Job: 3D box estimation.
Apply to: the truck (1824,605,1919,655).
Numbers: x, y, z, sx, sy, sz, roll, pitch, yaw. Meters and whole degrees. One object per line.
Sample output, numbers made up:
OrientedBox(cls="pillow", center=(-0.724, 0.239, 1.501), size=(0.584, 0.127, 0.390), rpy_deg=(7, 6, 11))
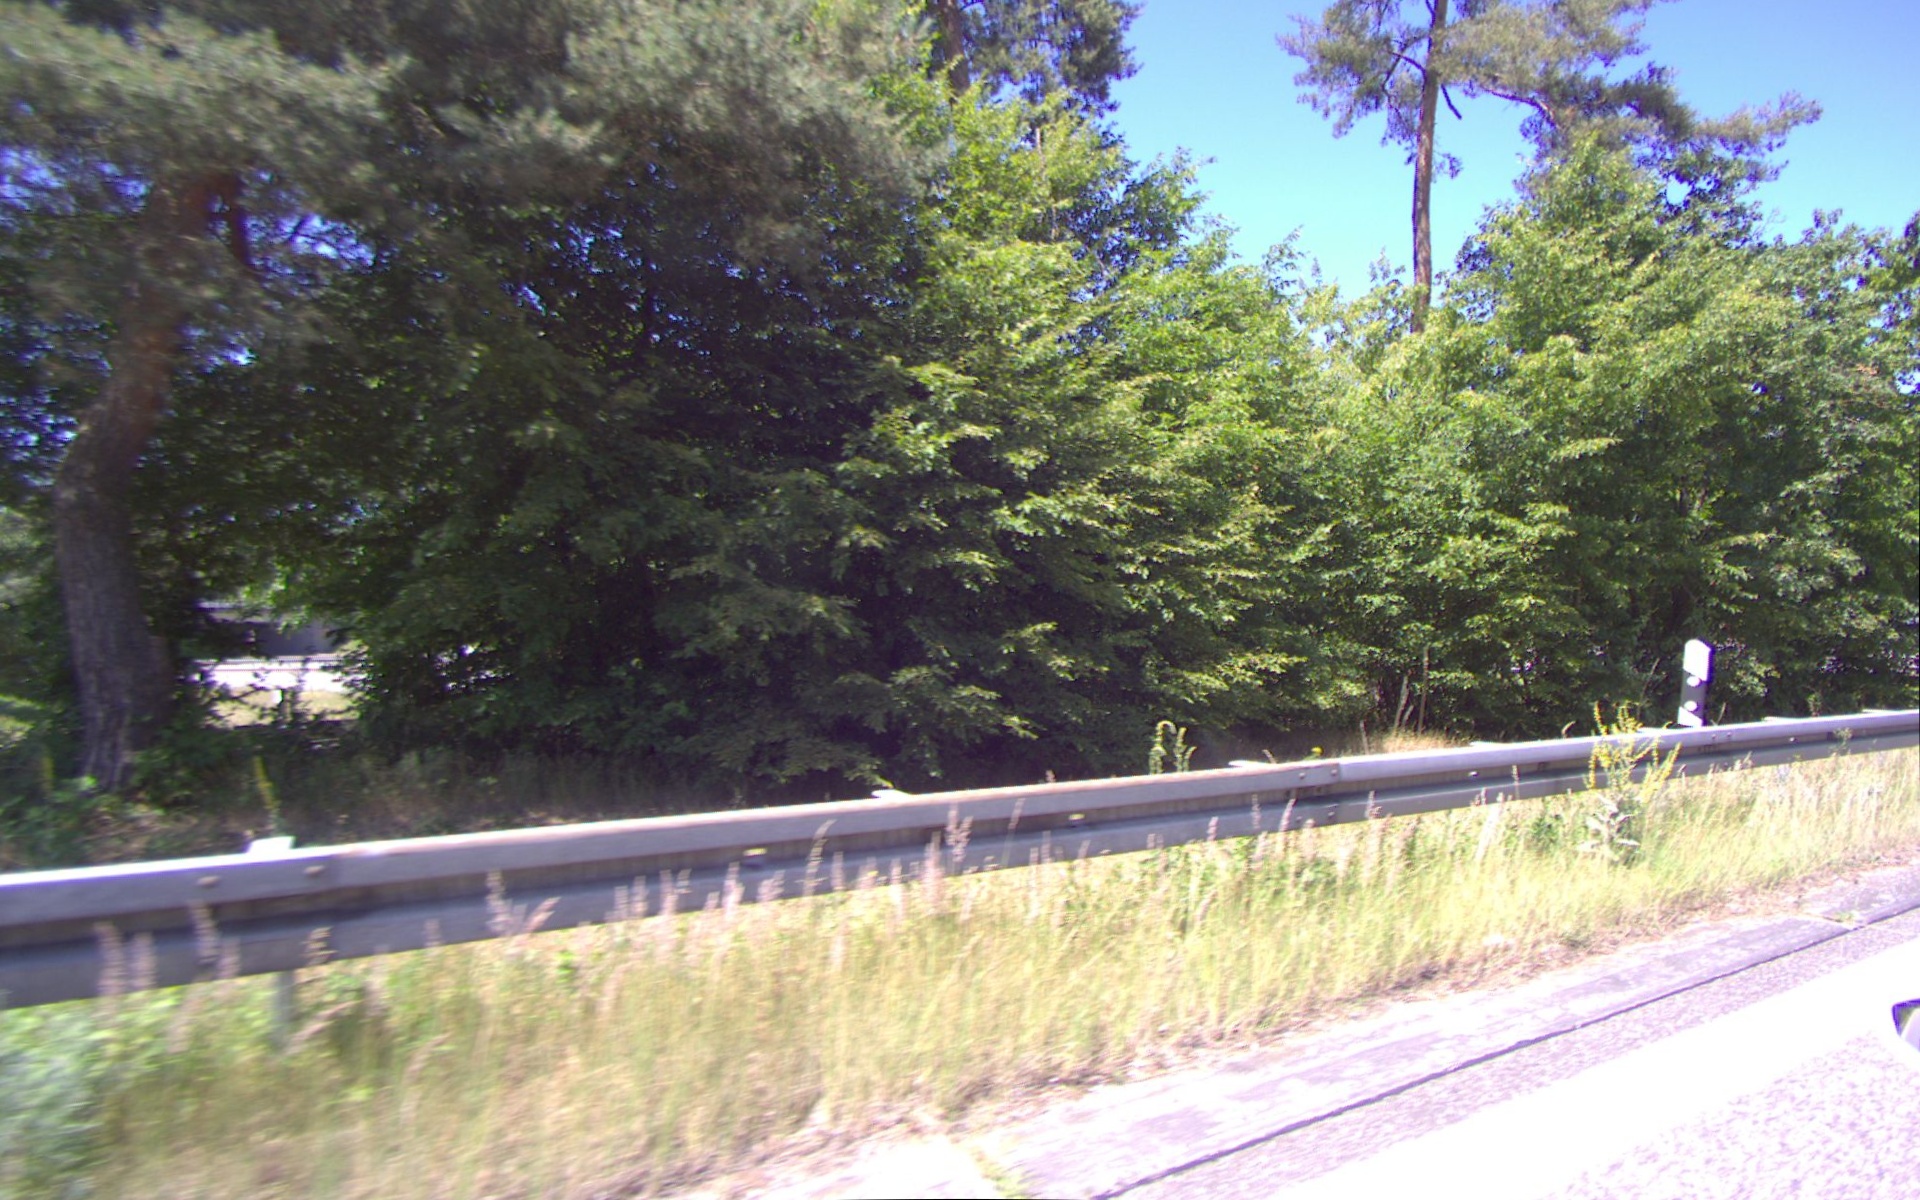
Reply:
OrientedBox(cls="truck", center=(83.360, 2.726, 91.617), size=(6.143, 4.450, 2.951), rpy_deg=(-1, -2, 10))

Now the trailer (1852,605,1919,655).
OrientedBox(cls="trailer", center=(89.451, 2.676, 90.530), size=(14.006, 4.444, 2.937), rpy_deg=(-1, -2, 10))
